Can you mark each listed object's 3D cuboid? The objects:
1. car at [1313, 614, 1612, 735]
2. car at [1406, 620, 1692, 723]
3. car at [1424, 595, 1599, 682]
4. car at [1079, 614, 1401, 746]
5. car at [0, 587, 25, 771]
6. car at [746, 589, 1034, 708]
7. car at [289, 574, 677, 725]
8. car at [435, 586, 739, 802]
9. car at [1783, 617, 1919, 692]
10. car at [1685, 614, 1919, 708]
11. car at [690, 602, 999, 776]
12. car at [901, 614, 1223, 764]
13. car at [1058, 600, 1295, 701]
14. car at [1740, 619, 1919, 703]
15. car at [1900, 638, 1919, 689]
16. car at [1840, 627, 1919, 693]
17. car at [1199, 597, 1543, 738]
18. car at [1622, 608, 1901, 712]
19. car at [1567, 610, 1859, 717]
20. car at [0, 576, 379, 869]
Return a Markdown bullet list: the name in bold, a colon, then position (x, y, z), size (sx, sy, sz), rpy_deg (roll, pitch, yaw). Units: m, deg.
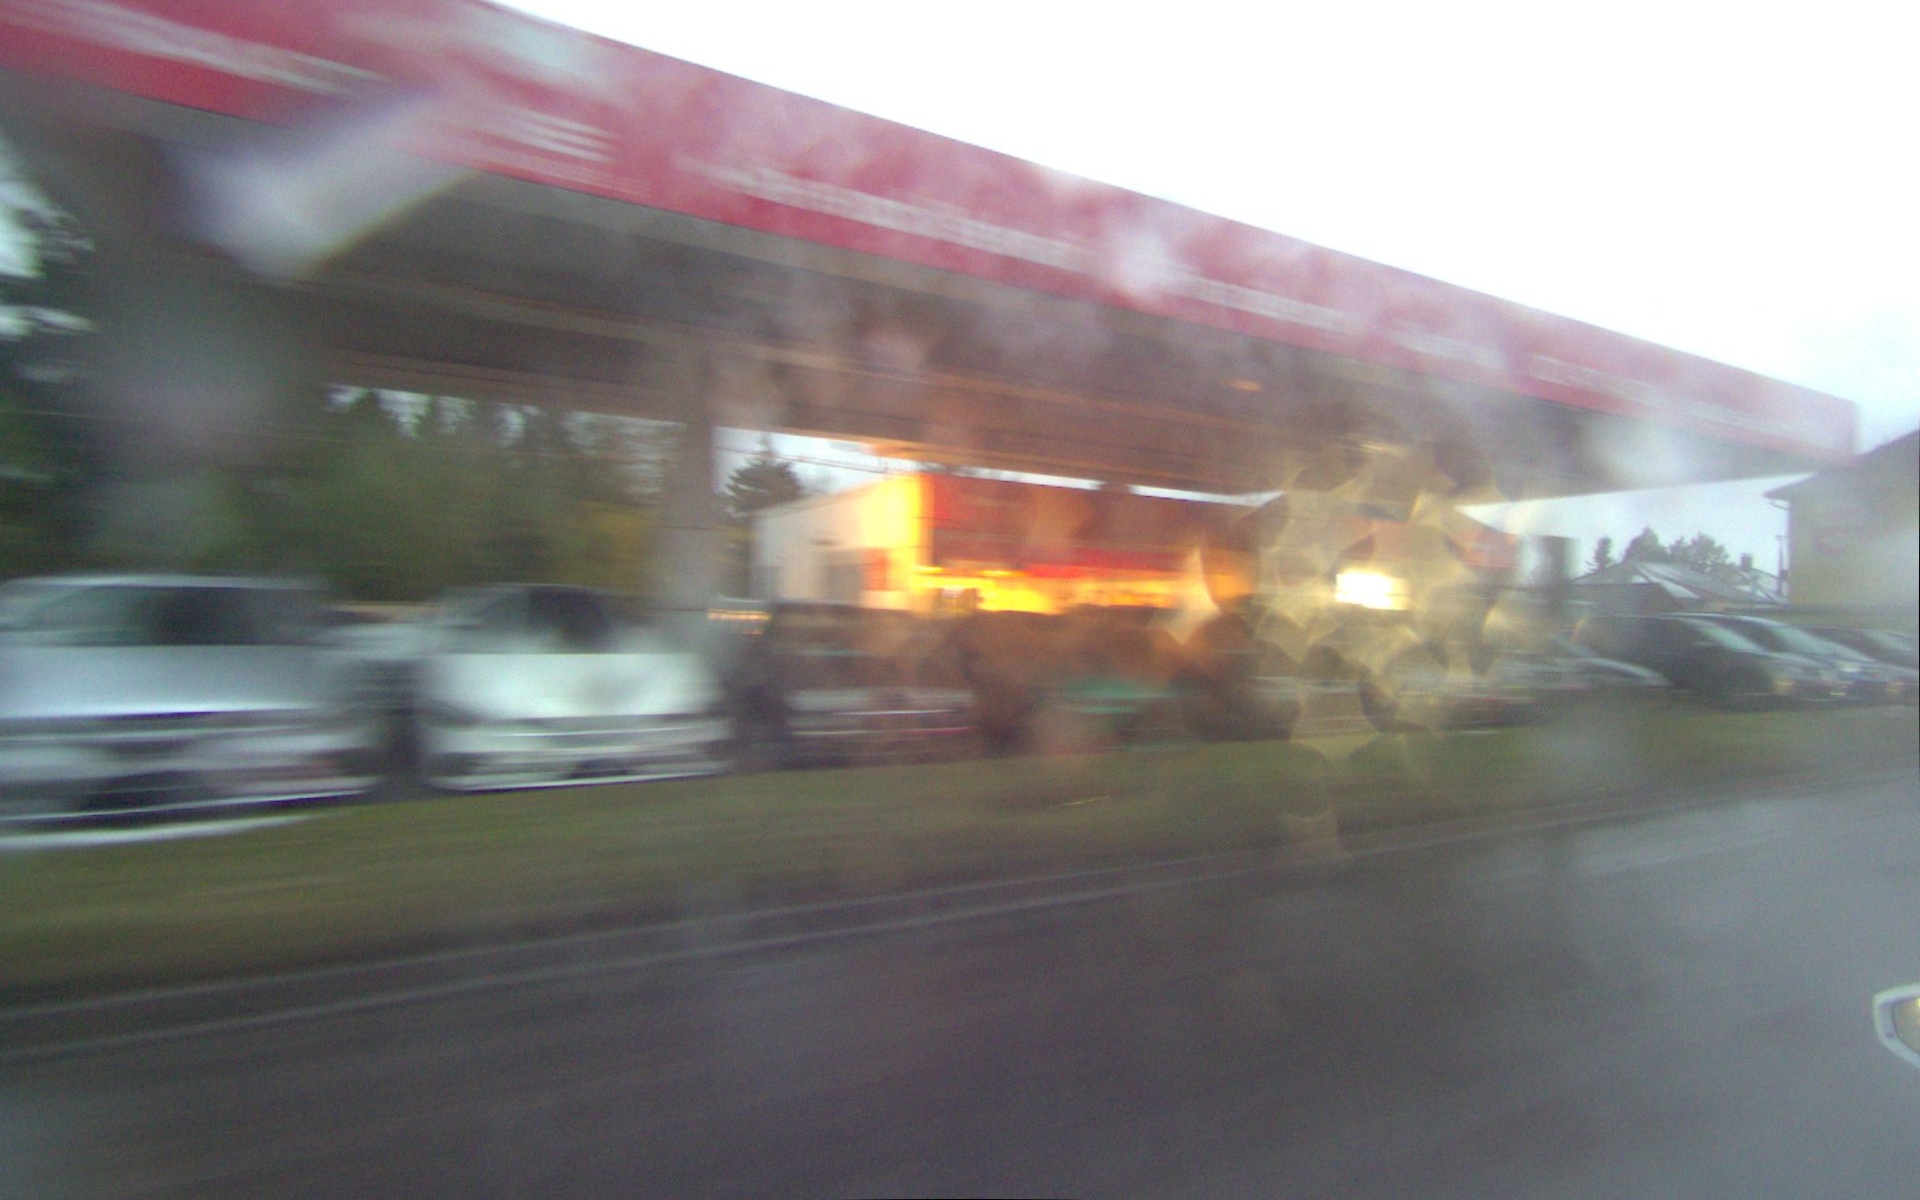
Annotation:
- **car**: position (7.724, 1.059, 15.803), size (1.818, 1.580, 3.840), rpy_deg (2, -1, -30)
- **car**: position (9.929, 1.127, 17.217), size (1.818, 1.461, 3.840), rpy_deg (2, -1, -30)
- **car**: position (13.010, 0.910, 23.677), size (3.954, 1.893, 1.877), rpy_deg (2, -1, -31)
- **car**: position (3.419, 0.907, 12.976), size (1.818, 1.363, 3.840), rpy_deg (2, -1, -30)
- **car**: position (-7.844, 0.655, 6.458), size (1.818, 1.471, 3.839), rpy_deg (2, 1, -30)
- **car**: position (-1.053, 0.676, 15.387), size (3.995, 1.575, 1.859), rpy_deg (1, 1, -29)
- **car**: position (-5.714, 0.525, 12.315), size (3.995, 1.575, 1.859), rpy_deg (1, 1, -29)
- **car**: position (-3.517, 0.641, 8.988), size (1.921, 1.428, 3.839), rpy_deg (2, 1, -30)
- **car**: position (24.148, 1.418, 25.735), size (1.976, 1.685, 4.257), rpy_deg (2, 2, -29)
- **car**: position (19.482, 1.306, 22.938), size (1.976, 1.685, 4.257), rpy_deg (2, 2, -29)
- **car**: position (-1.387, 0.770, 10.477), size (1.818, 1.424, 3.840), rpy_deg (2, -1, -30)
- **car**: position (0.989, 0.885, 11.634), size (1.818, 1.363, 3.840), rpy_deg (2, -1, -30)
- **car**: position (4.048, 0.899, 18.659), size (4.099, 1.678, 1.879), rpy_deg (2, -1, -30)
- **car**: position (21.818, 1.441, 24.180), size (2.111, 1.685, 4.257), rpy_deg (2, 2, -29)
- **car**: position (28.920, 1.884, 27.828), size (1.698, 1.447, 3.877), rpy_deg (2, 0, -28)
- **car**: position (26.600, 1.695, 26.790), size (1.976, 1.649, 4.257), rpy_deg (2, 2, -29)
- **car**: position (5.652, 0.830, 14.376), size (1.957, 1.678, 4.260), rpy_deg (2, -1, -30)
- **car**: position (17.255, 1.207, 21.864), size (1.976, 1.787, 4.257), rpy_deg (2, 2, -29)
- **car**: position (15.040, 1.188, 20.338), size (1.976, 1.685, 4.257), rpy_deg (2, 2, -29)
- **car**: position (-5.452, 0.631, 7.582), size (1.802, 1.575, 4.011), rpy_deg (1, 1, -30)
